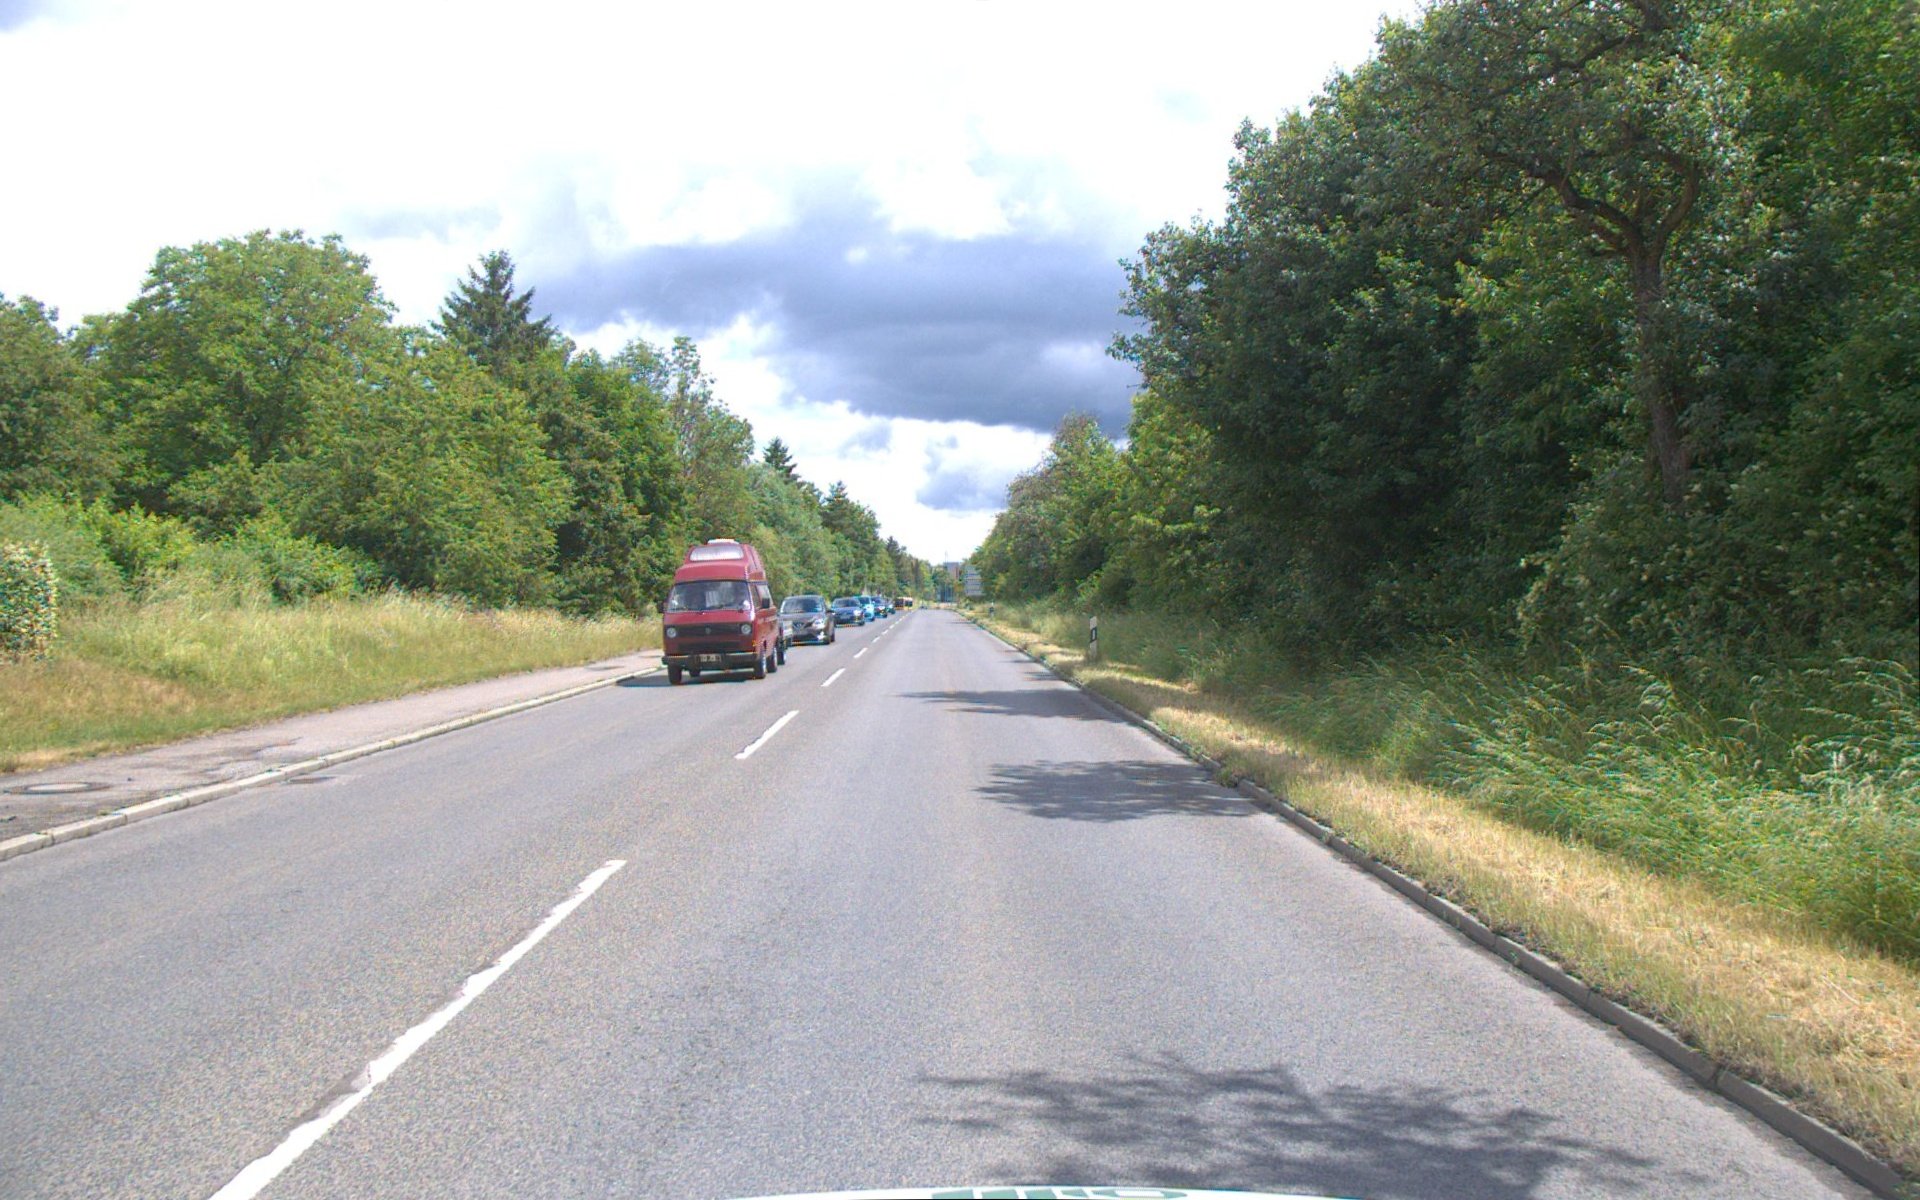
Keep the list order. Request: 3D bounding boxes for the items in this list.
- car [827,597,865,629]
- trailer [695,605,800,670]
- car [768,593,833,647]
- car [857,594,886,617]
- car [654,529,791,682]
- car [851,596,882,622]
[{"bbox_3d":[-5.775,0.644,84.281,1.748,1.472,4.450,-3,0,-2],"label":"car"},{"bbox_3d":[-4.614,0.789,36.396,1.854,1.221,3.916,-3,0,-1],"label":"trailer"},{"bbox_3d":[-4.935,0.594,51.464,1.682,1.496,3.998,-3,0,-2],"label":"car"},{"bbox_3d":[-6.194,0.369,116.325,1.846,1.518,4.715,-3,0,-2],"label":"car"},{"bbox_3d":[-4.431,0.080,31.563,1.929,2.594,4.723,-3,0,-1],"label":"car"},{"bbox_3d":[-5.661,0.542,100.454,1.749,1.472,2.965,-3,0,-2],"label":"car"}]
